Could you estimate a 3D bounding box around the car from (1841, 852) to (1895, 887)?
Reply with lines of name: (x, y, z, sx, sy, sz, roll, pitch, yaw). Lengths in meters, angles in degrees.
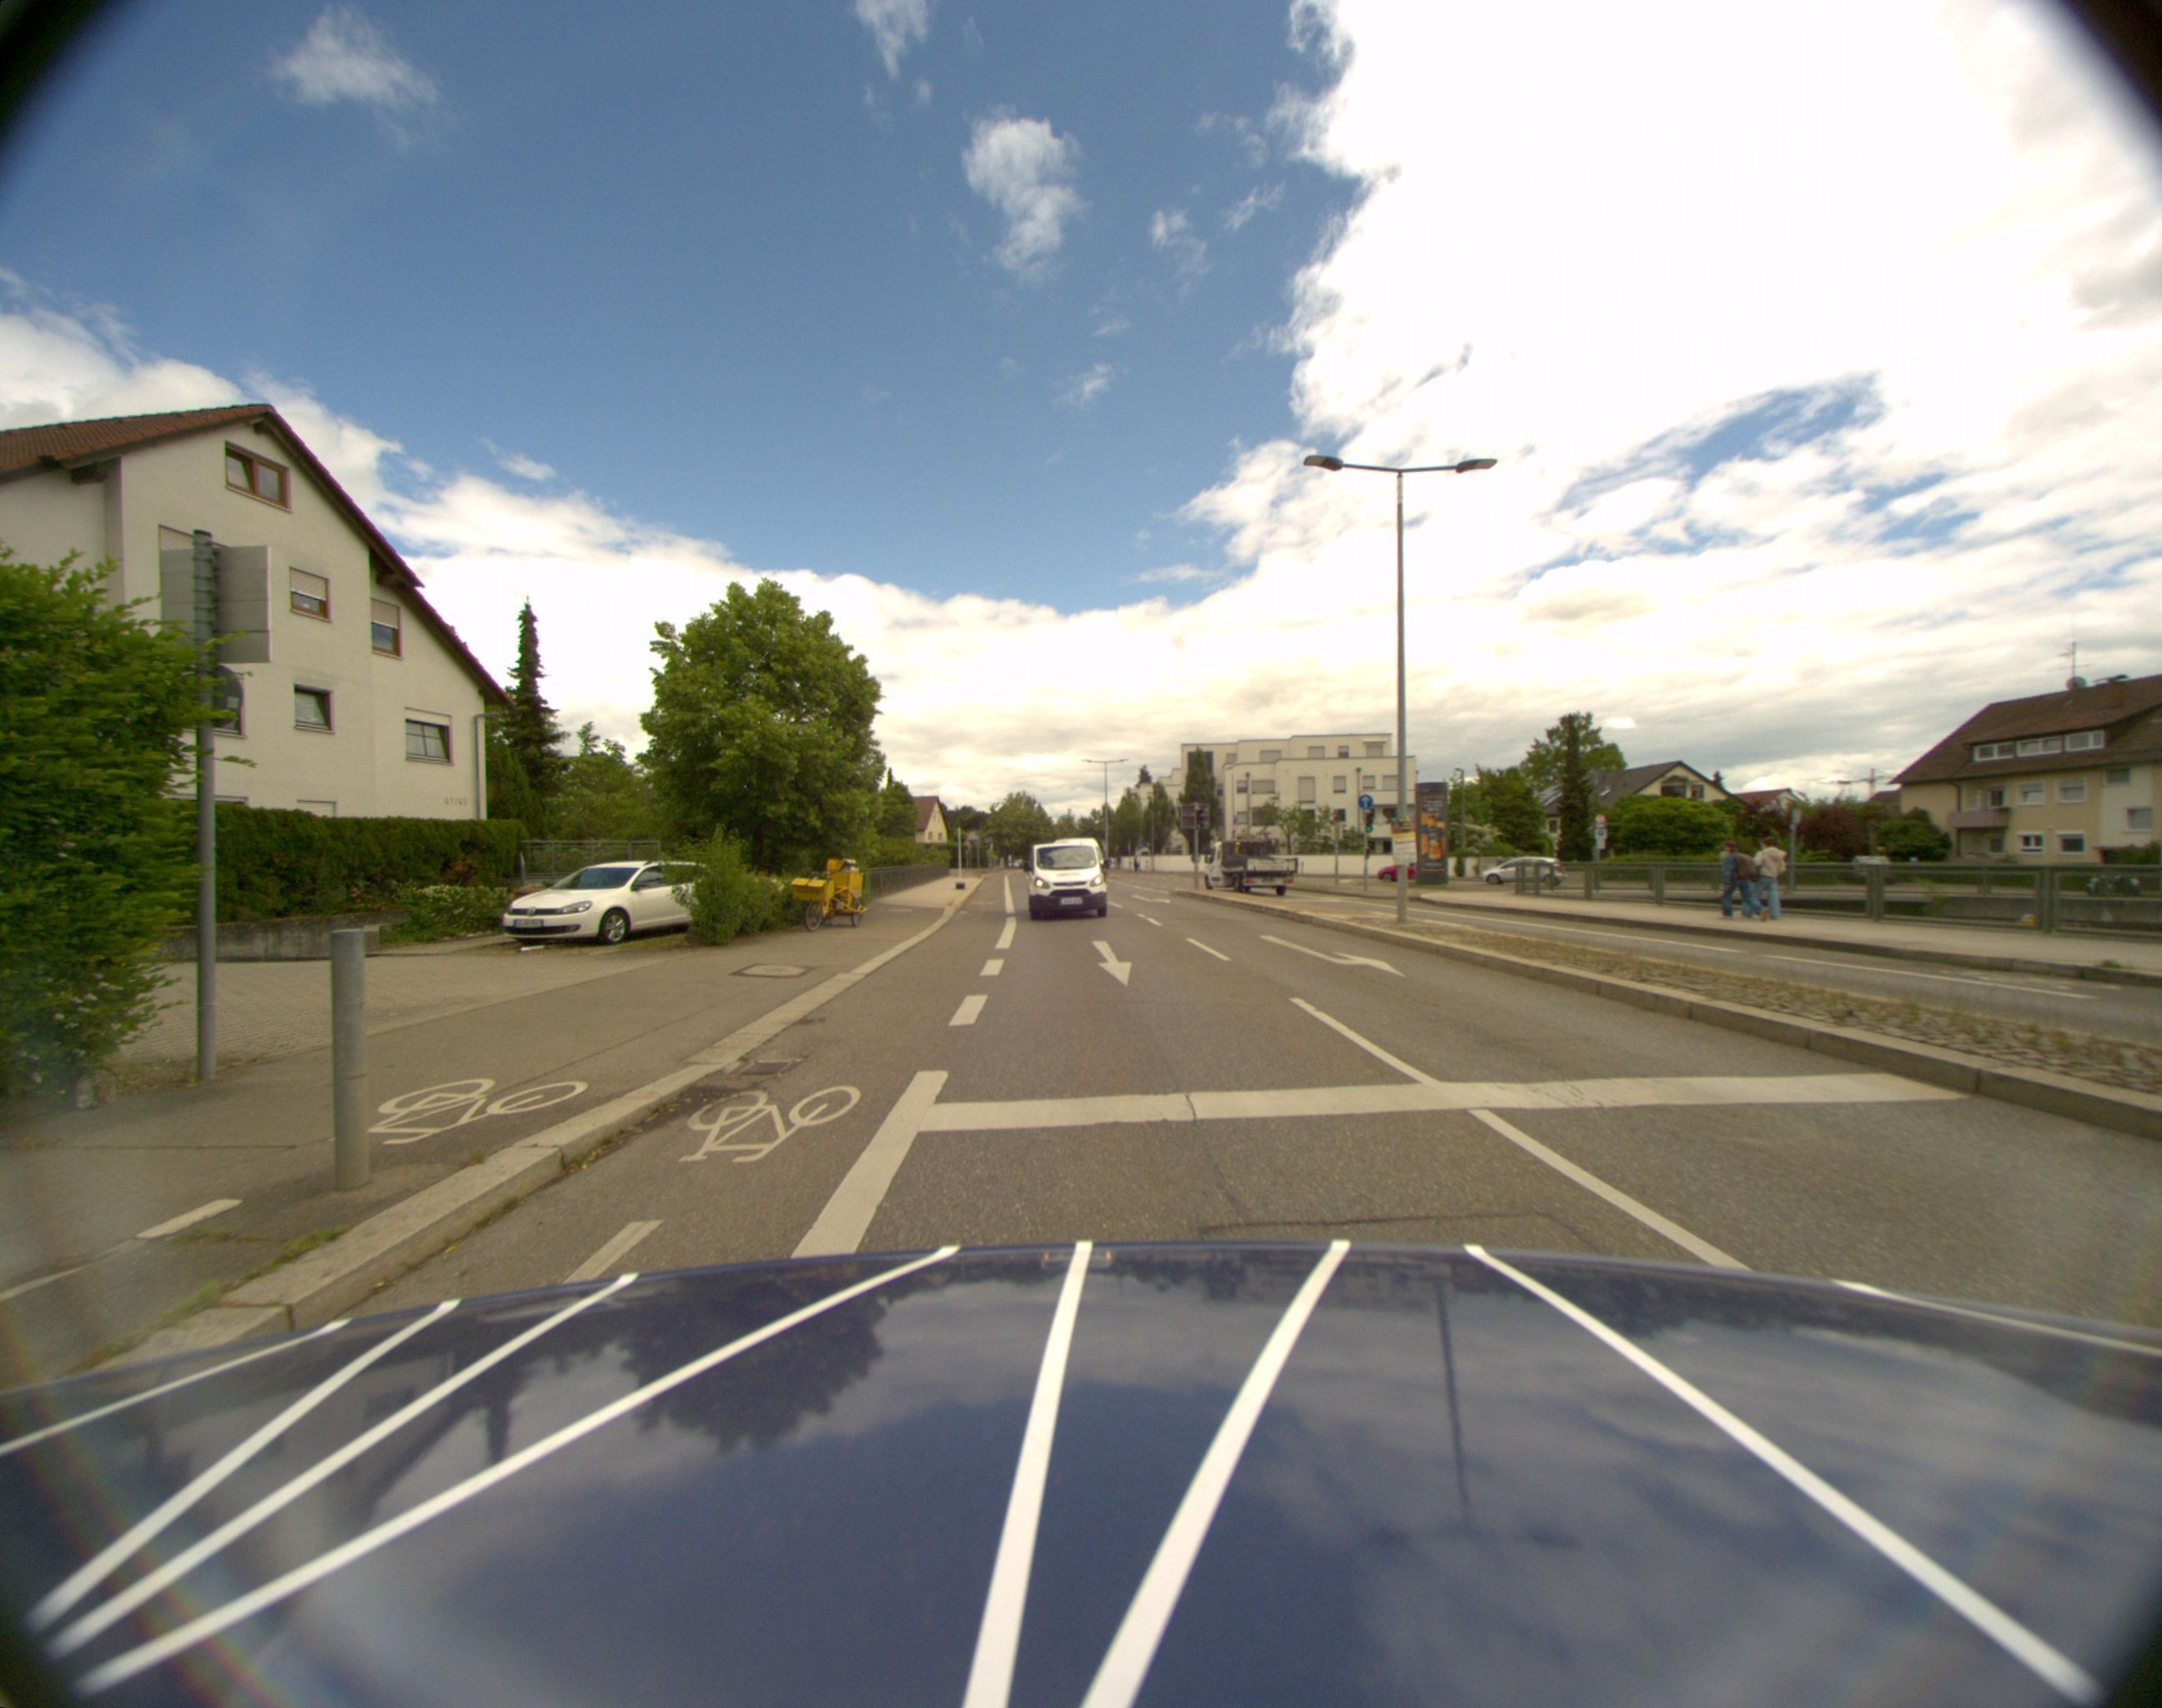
car: (42.033, 0.810, 40.667, 1.782, 1.571, 4.007, -3, 0, 43)

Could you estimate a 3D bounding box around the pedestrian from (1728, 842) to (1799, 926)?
pedestrian: (13.799, 0.591, 15.384, 0.658, 1.624, 0.832, -2, 1, -11)

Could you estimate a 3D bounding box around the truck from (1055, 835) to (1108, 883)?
truck: (-0.076, 0.297, 43.954, 2.038, 2.555, 6.052, 1, 0, -10)

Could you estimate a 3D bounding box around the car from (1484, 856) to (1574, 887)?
car: (25.086, 0.952, 42.615, 4.117, 1.526, 1.651, 2, 0, 40)

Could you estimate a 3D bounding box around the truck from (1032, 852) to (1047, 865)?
truck: (-5.989, 0.695, 110.008, 1.614, 1.780, 4.002, 1, 0, 5)

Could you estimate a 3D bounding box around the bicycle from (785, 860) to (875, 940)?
bicycle: (-5.253, 0.901, 16.155, 0.894, 1.501, 2.783, 4, 0, 0)

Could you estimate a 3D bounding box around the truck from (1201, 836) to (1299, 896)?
truck: (6.941, 0.447, 32.140, 2.132, 2.251, 6.802, 0, 0, -5)

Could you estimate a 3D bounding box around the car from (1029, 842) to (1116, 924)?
car: (-0.366, 0.716, 21.347, 2.076, 1.956, 5.555, -1, 0, -3)

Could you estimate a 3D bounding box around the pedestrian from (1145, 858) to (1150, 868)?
pedestrian: (6.813, 0.906, 77.716, 0.326, 1.056, 0.444, -4, 1, -7)

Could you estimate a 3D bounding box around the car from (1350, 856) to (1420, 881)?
car: (19.108, 0.869, 47.787, 3.692, 1.438, 1.779, 2, 2, 38)

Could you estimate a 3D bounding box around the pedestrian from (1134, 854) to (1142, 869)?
pedestrian: (5.914, 0.786, 78.968, 0.533, 1.534, 0.731, -5, 1, -8)

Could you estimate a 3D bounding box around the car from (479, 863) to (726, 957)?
car: (-8.676, 0.945, 14.266, 1.673, 1.495, 4.063, -1, -1, 8)

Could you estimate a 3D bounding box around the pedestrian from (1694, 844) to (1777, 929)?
pedestrian: (13.099, 0.629, 15.234, 0.658, 1.624, 1.069, -2, 1, -11)

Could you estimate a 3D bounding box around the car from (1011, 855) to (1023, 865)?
car: (-9.849, 0.930, 117.138, 1.562, 1.343, 3.540, 1, 0, 0)

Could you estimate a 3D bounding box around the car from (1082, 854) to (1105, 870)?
car: (1.281, 0.814, 80.308, 1.828, 1.617, 4.276, 2, 0, -7)

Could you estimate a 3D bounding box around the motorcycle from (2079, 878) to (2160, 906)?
motorcycle: (43.191, 1.545, 31.641, 0.701, 0.993, 2.123, 4, 2, 13)
